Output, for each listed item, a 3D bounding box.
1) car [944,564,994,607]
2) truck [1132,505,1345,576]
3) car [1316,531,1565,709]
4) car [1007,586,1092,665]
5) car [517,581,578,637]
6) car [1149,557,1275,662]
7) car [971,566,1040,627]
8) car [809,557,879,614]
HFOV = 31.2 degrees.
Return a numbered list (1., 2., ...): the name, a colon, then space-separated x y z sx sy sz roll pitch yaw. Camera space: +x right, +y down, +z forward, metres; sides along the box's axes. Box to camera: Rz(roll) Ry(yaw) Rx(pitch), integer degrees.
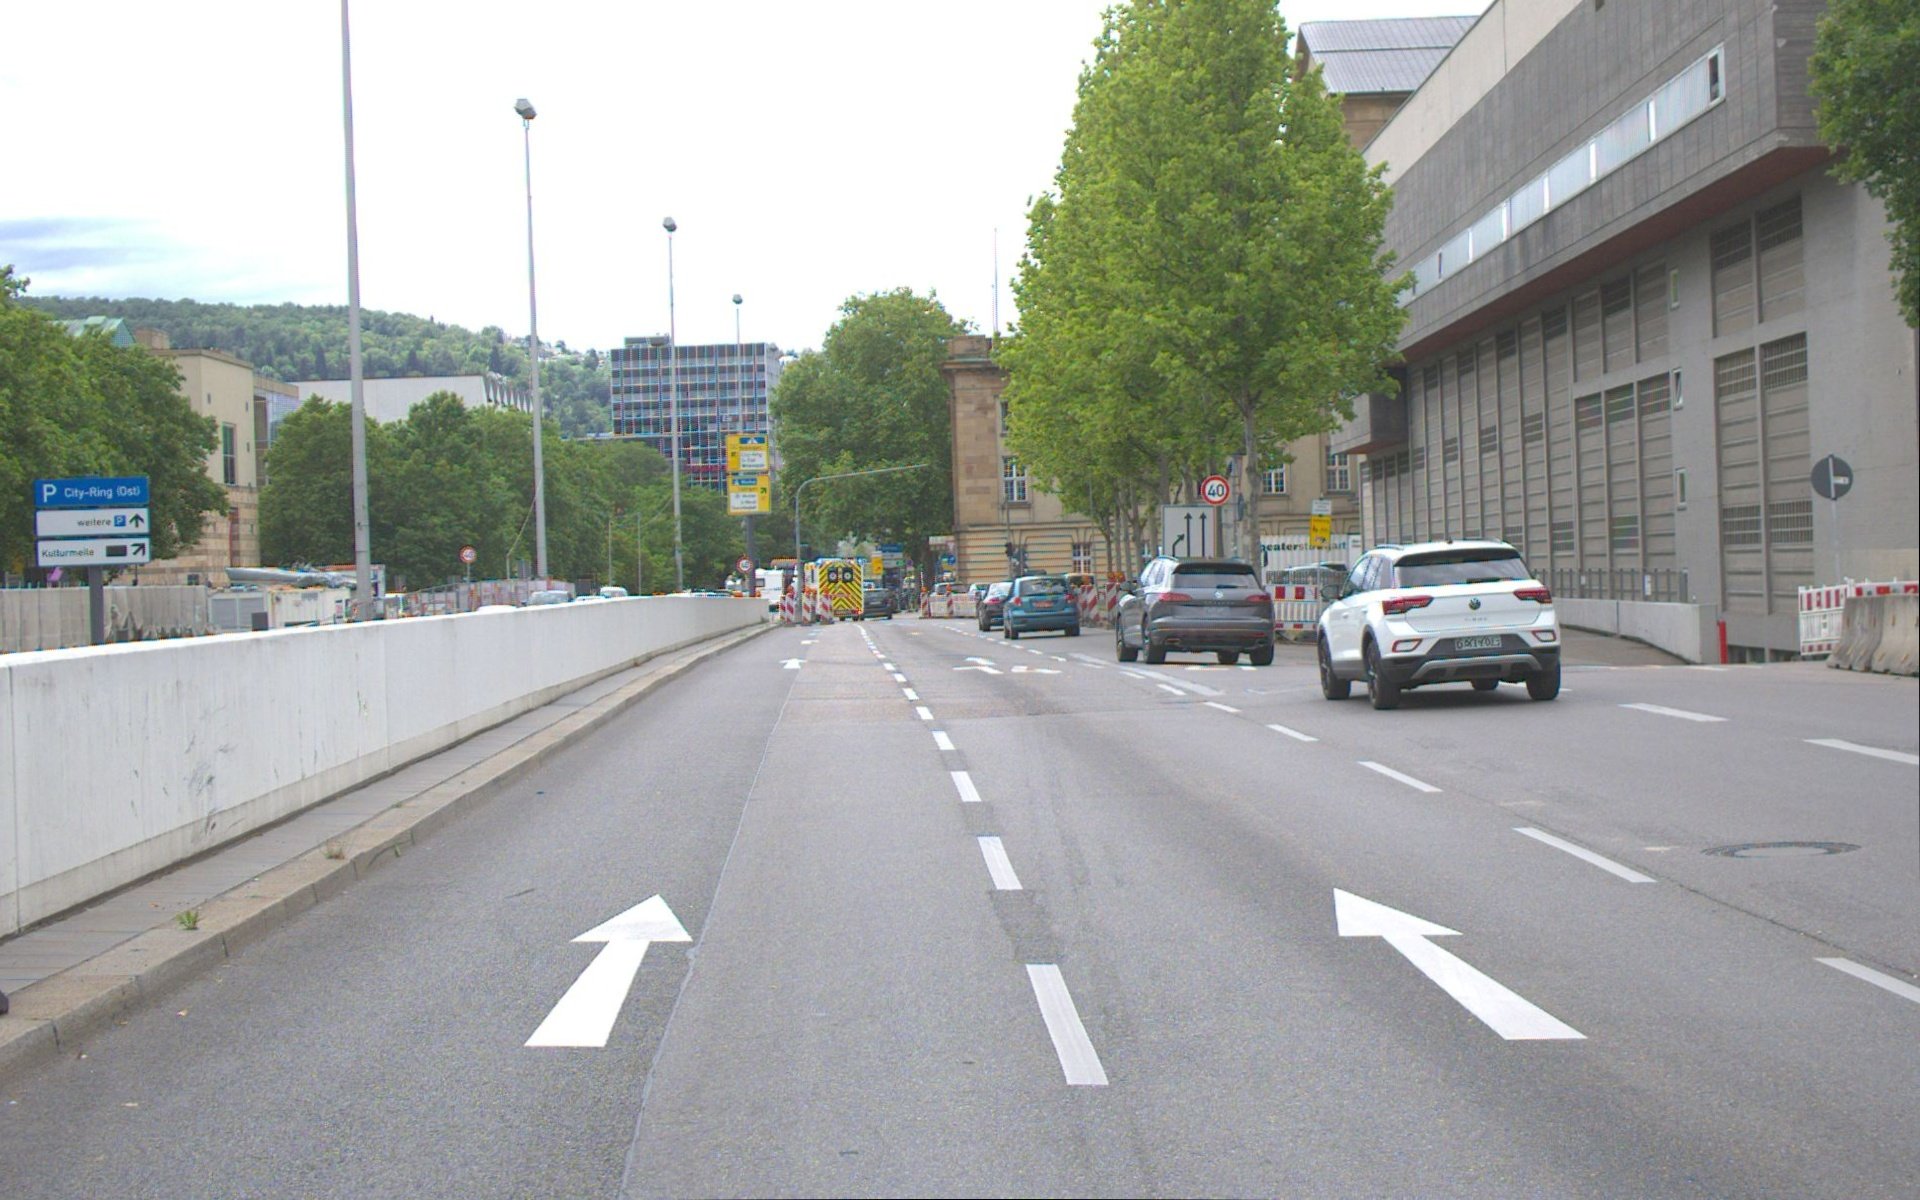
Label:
1. car: 0.409 -0.639 147.741 1.823 1.735 4.479 -2 0 3
2. truck: 13.453 -2.859 166.590 10.029 3.040 2.569 -2 -1 0
3. car: 4.684 0.154 34.077 1.750 1.562 4.331 -3 1 -1
4. car: 2.144 0.586 81.685 1.823 1.735 4.479 -2 0 3
5. car: -16.204 0.350 135.146 1.993 2.006 4.001 -2 2 -2
6. car: 3.920 0.175 53.965 1.823 1.562 4.479 0 -1 2
7. car: 1.397 -0.120 103.239 1.823 1.735 4.479 -2 0 3
8. car: -5.138 -0.657 153.242 2.582 2.366 5.526 -2 0 3
